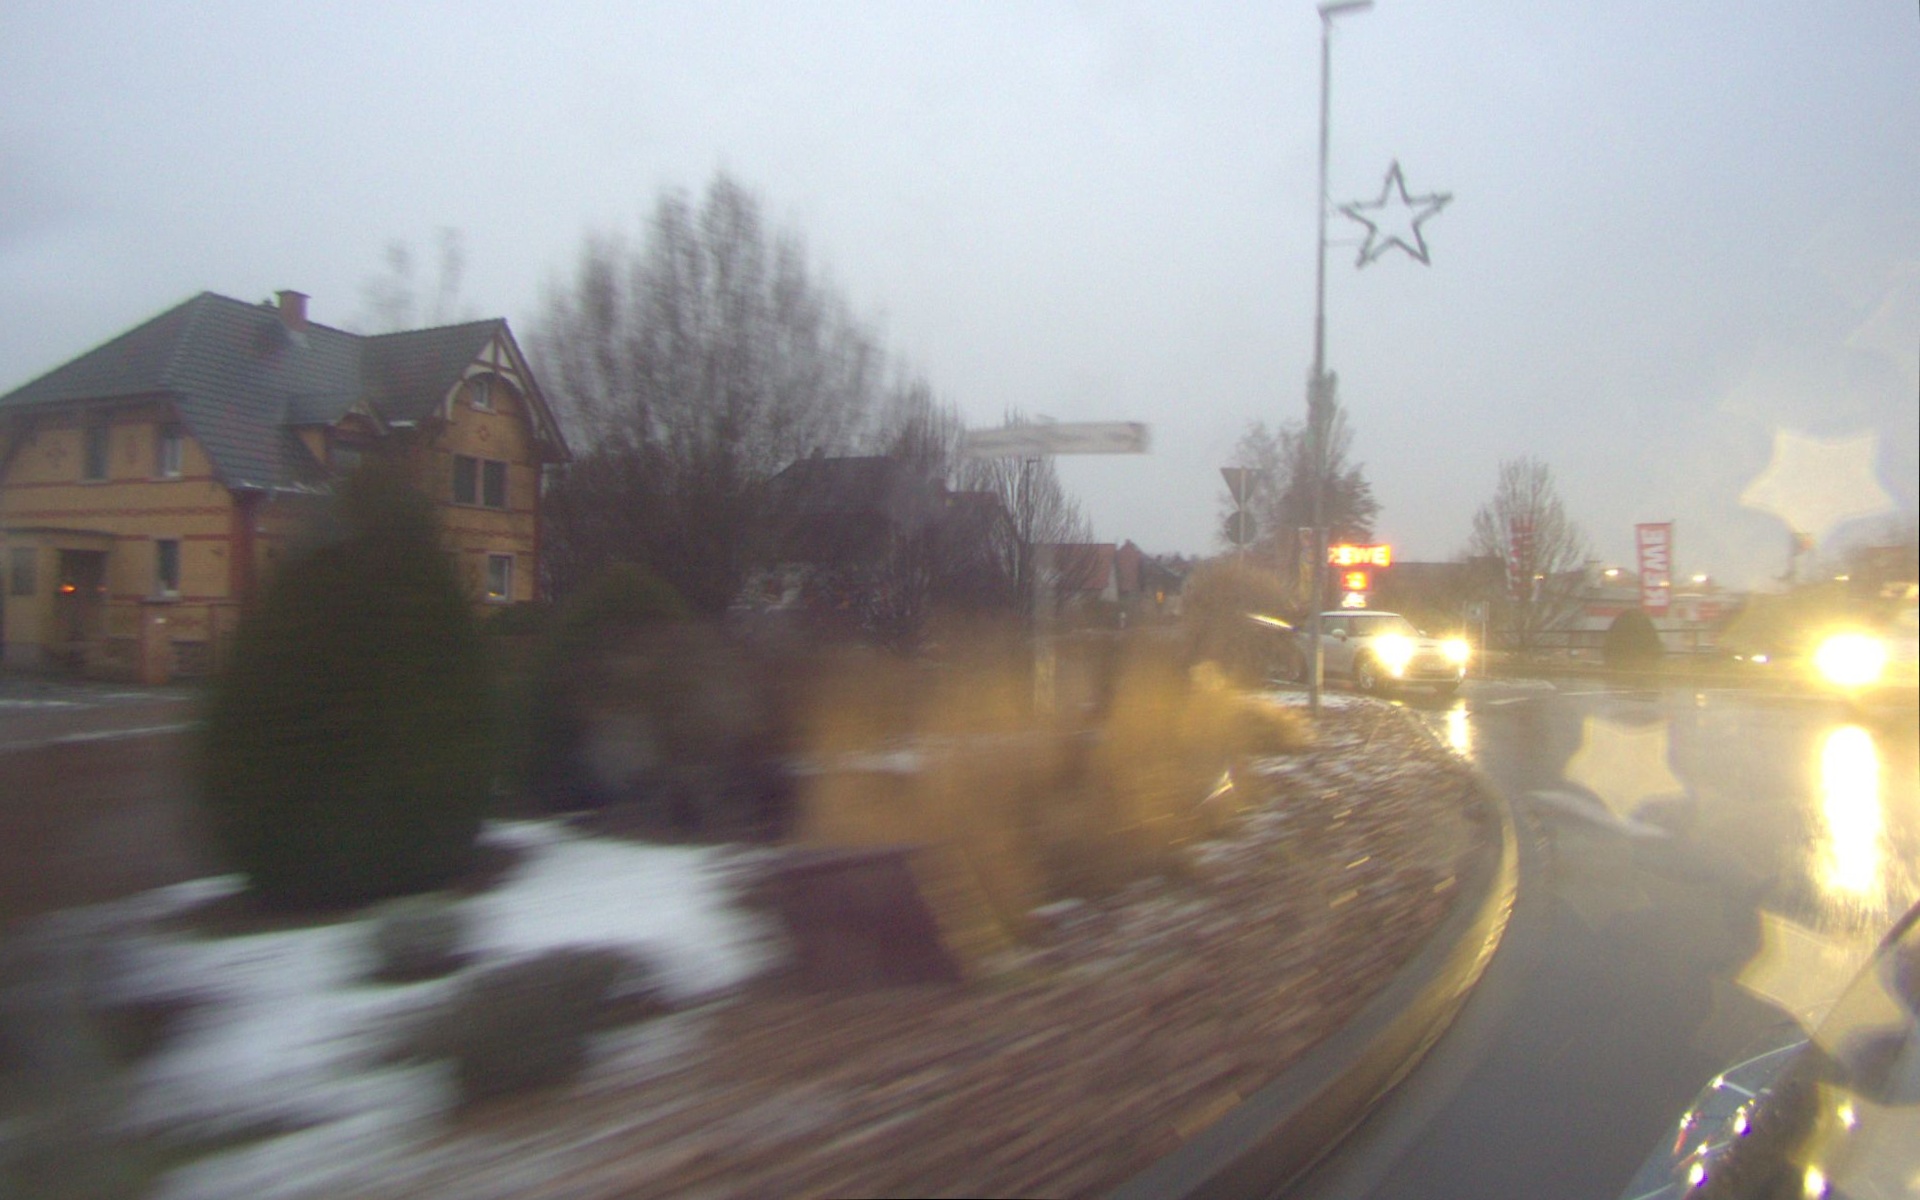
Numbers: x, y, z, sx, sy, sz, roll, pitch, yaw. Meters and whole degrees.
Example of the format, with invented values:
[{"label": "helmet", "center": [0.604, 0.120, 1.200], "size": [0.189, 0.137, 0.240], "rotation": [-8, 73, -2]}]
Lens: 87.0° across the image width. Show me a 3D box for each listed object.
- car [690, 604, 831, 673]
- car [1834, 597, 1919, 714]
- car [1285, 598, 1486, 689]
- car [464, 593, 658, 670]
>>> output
[{"label": "car", "center": [-6.058, 1.150, 31.426], "size": [1.914, 1.943, 5.211], "rotation": [-1, -1, 20]}, {"label": "car", "center": [14.111, 0.694, 13.970], "size": [4.161, 1.479, 1.812], "rotation": [-1, 0, -30]}, {"label": "car", "center": [7.739, 0.770, 18.810], "size": [1.628, 1.511, 3.716], "rotation": [0, -1, -11]}, {"label": "car", "center": [-11.290, 0.787, 29.142], "size": [2.337, 1.888, 5.300], "rotation": [2, 1, 19]}]
